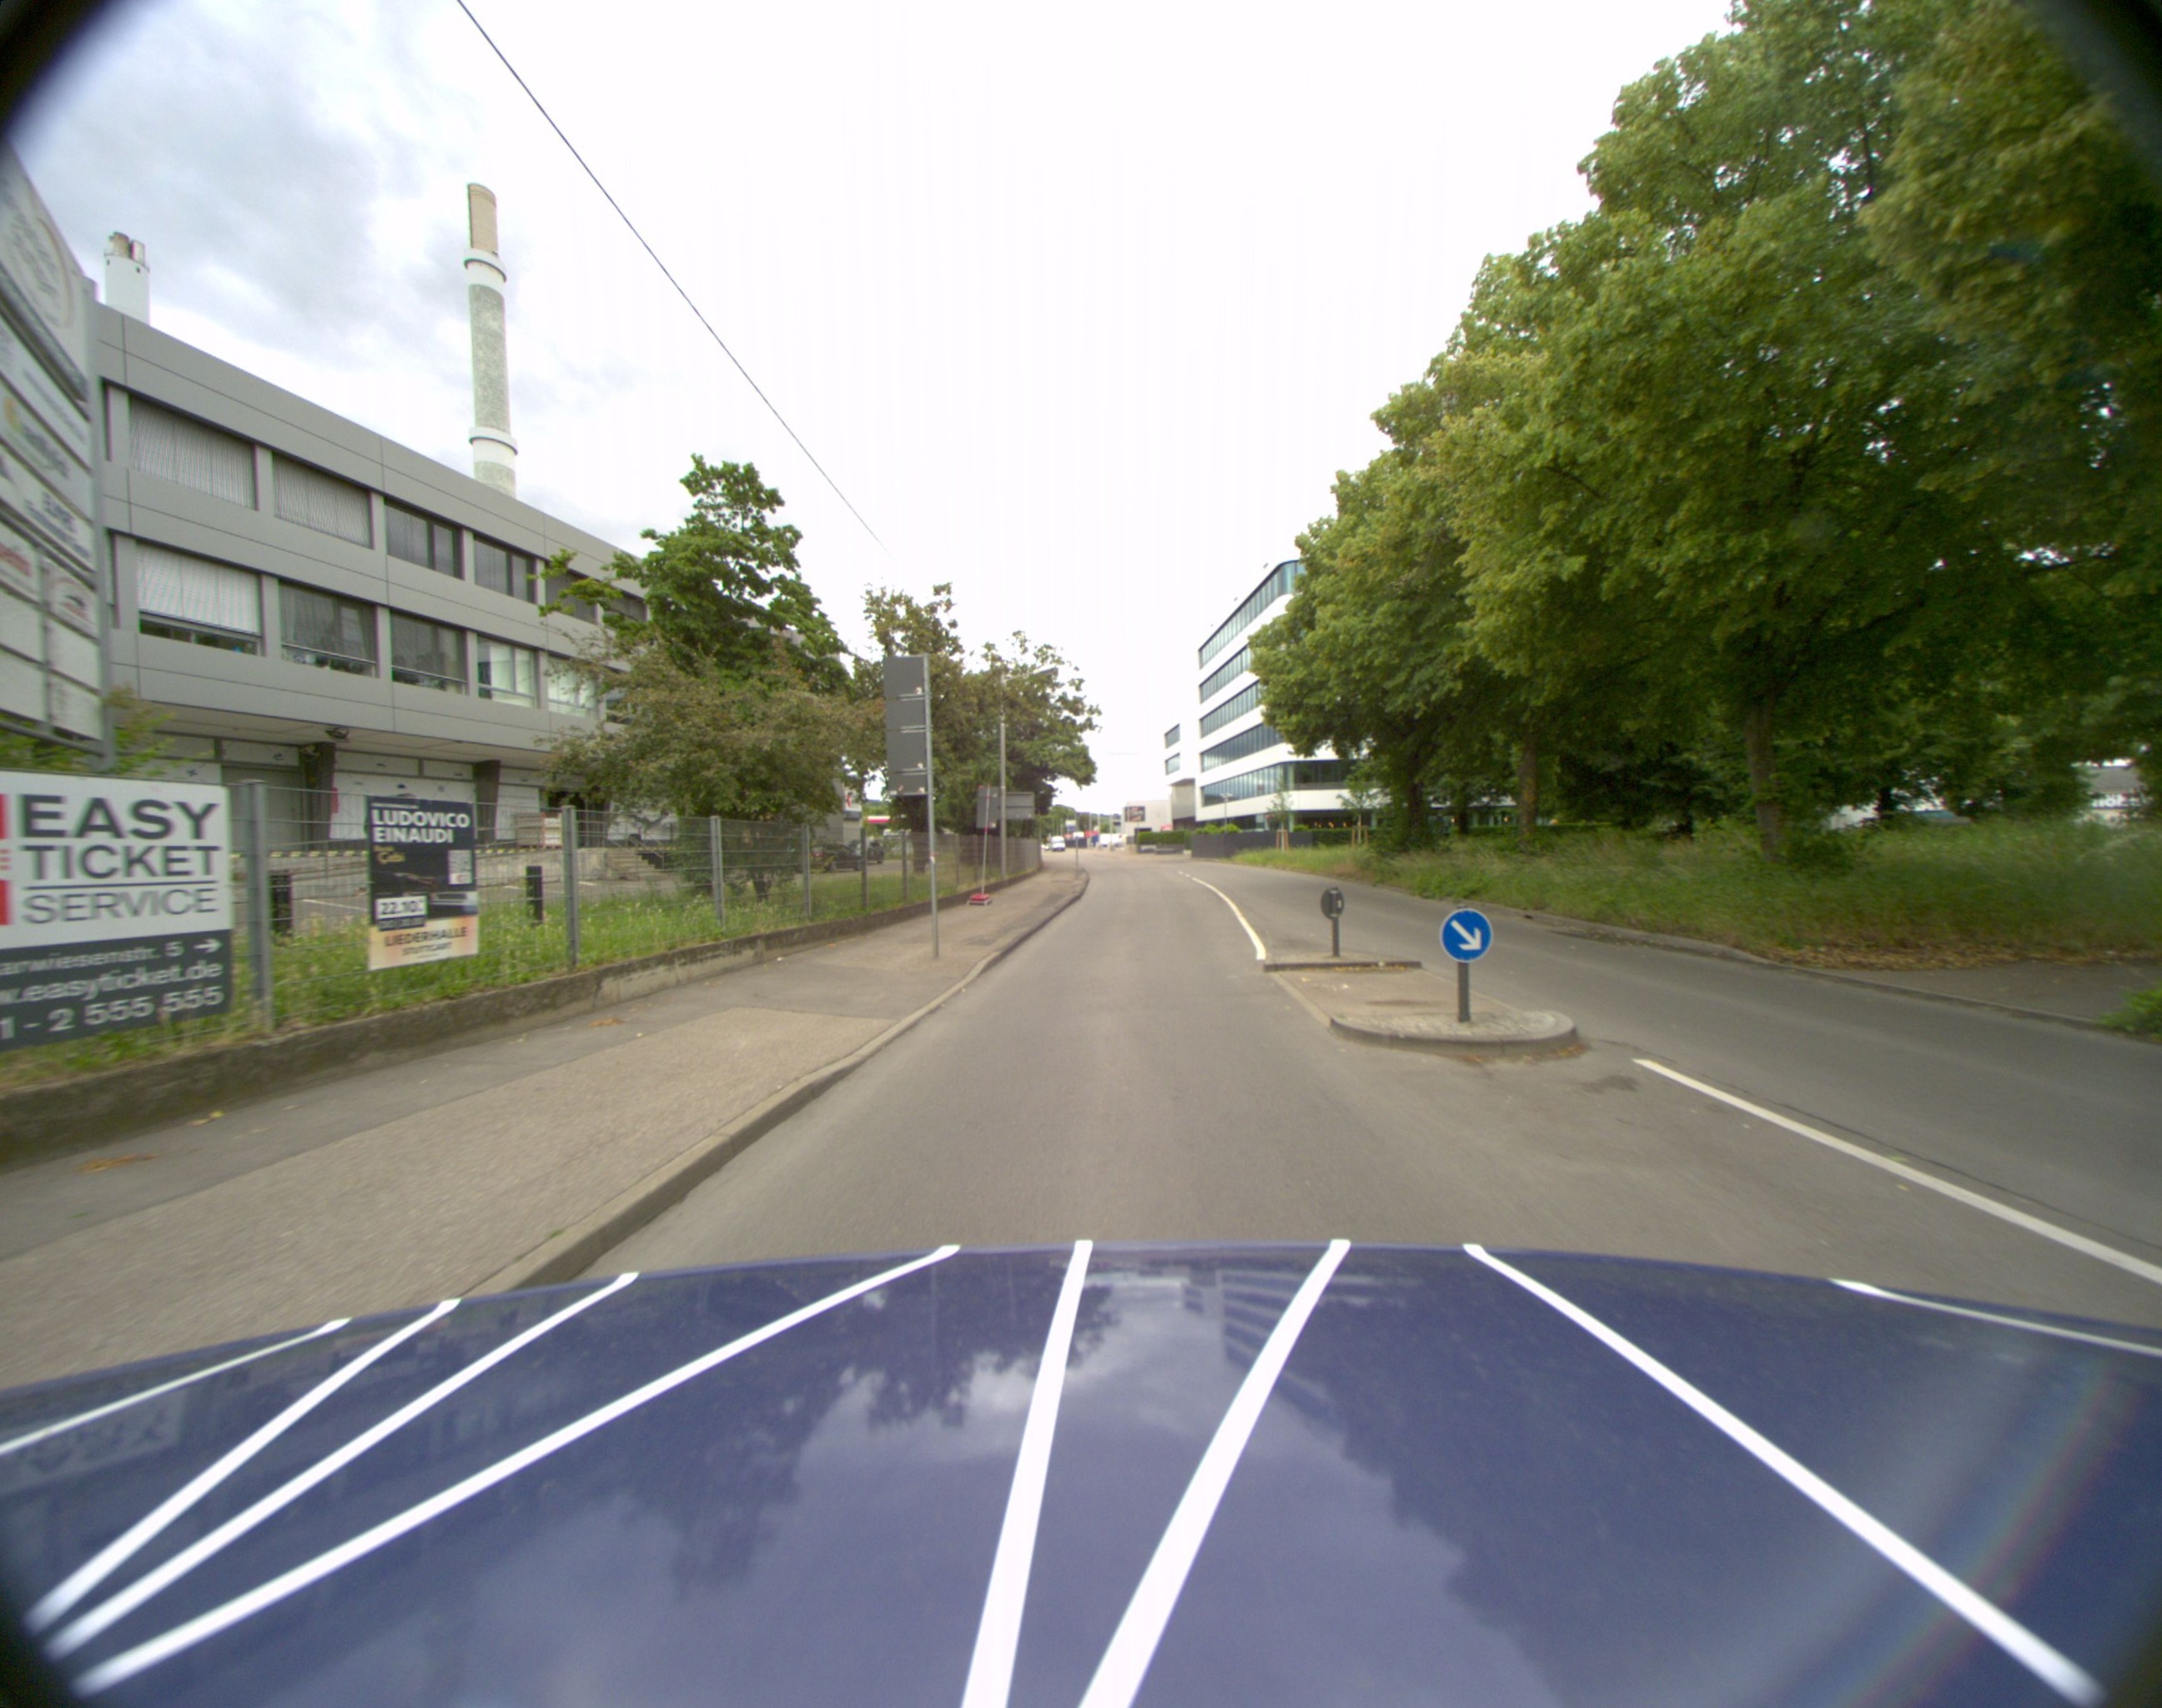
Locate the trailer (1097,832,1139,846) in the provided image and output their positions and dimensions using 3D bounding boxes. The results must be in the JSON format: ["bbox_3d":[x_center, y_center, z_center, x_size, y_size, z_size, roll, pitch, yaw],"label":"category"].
[{"bbox_3d":[10.845,-4.390,225.159,12.025,4.109,3.051,1,1,13],"label":"trailer"}]

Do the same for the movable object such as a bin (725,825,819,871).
[{"bbox_3d":[-15.751,-0.320,38.815,3.994,2.292,1.953,0,1,8],"label":"movable object such as a bin"}]

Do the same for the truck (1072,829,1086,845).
[{"bbox_3d":[-0.547,-4.352,195.259,3.368,4.136,5.625,1,1,-1],"label":"truck"}]

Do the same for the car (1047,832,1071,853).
[{"bbox_3d":[-3.949,-2.028,133.830,3.341,3.587,8.662,-1,1,-8],"label":"car"}]

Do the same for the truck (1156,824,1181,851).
[{"bbox_3d":[13.858,-2.585,119.478,2.746,4.008,7.100,-1,1,16],"label":"truck"}]

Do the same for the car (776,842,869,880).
[{"bbox_3d":[-11.043,0.231,32.268,2.004,1.465,4.679,-1,2,-42],"label":"car"}]

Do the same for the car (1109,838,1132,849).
[{"bbox_3d":[10.037,-2.626,192.459,5.424,2.715,2.243,-2,0,14],"label":"car"}]

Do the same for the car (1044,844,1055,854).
[{"bbox_3d":[-6.194,-0.956,149.749,1.713,2.002,3.886,-1,1,-10],"label":"car"}]

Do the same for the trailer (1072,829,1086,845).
[{"bbox_3d":[-0.702,-4.429,202.254,3.368,4.136,13.844,1,1,-1],"label":"trailer"}]

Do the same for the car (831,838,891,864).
[{"bbox_3d":[-14.140,-0.173,49.113,1.997,1.558,4.444,2,1,8],"label":"car"}]

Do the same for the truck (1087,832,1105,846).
[{"bbox_3d":[4.396,-4.485,225.965,4.880,4.109,3.046,1,1,-4],"label":"truck"}]
